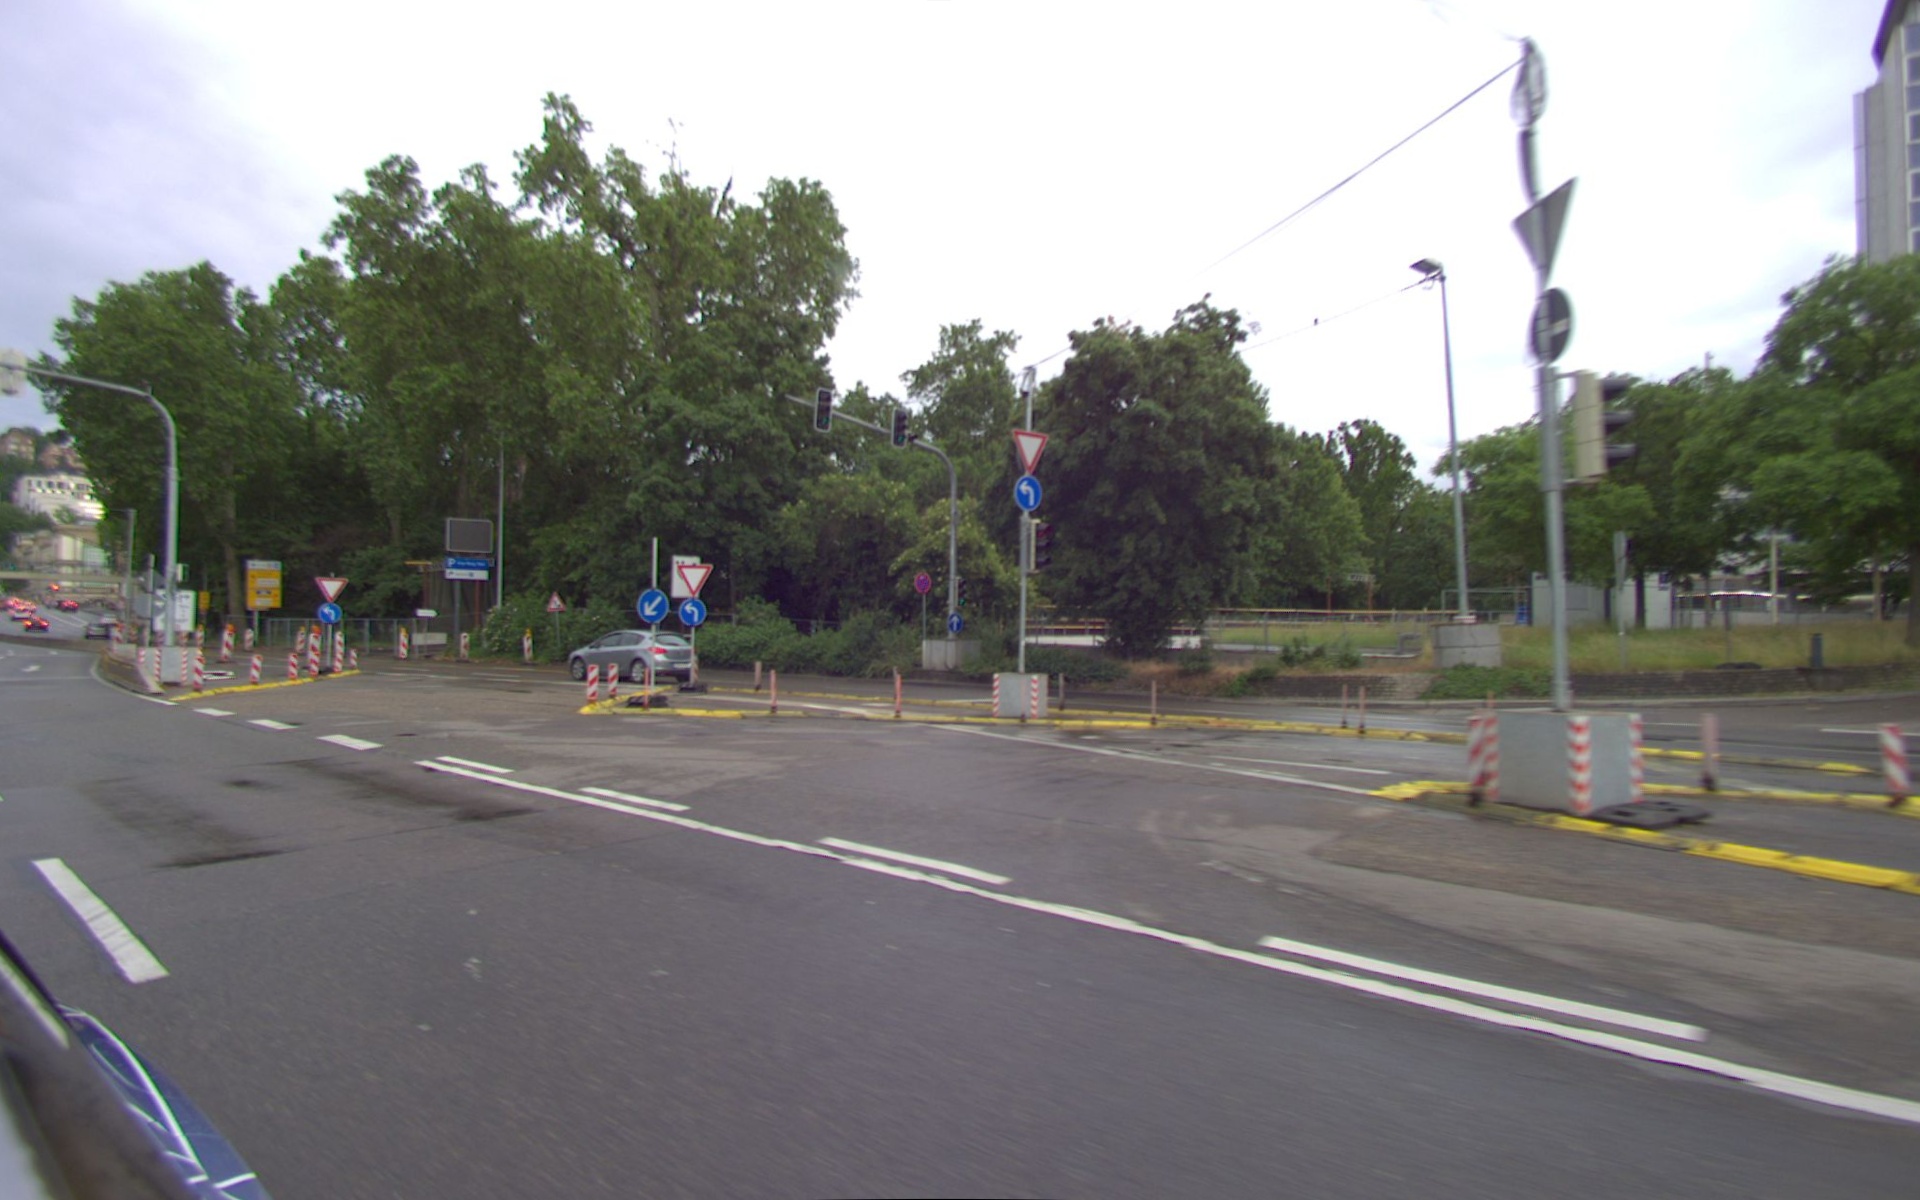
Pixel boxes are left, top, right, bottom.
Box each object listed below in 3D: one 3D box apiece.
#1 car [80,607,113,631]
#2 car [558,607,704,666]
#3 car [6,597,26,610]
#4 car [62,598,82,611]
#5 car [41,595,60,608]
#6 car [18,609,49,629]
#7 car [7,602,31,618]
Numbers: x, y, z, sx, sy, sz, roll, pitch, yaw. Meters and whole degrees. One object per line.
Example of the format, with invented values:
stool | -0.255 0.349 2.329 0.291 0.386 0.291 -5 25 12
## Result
car | -77.275 1.691 90.563 4.002 2.029 1.971 -1 0 45
car | -9.355 1.037 28.689 4.144 1.554 1.646 -2 -2 32
car | -149.117 0.591 159.810 4.000 2.029 1.972 -1 0 43
car | -143.778 0.691 163.809 4.000 2.029 1.972 -1 0 43
car | -154.298 0.271 171.716 4.000 2.029 1.972 -1 0 43
car | -94.639 1.917 103.366 4.000 2.029 1.972 -1 0 43
car | -122.005 1.252 131.217 4.000 2.029 1.972 -1 0 43
